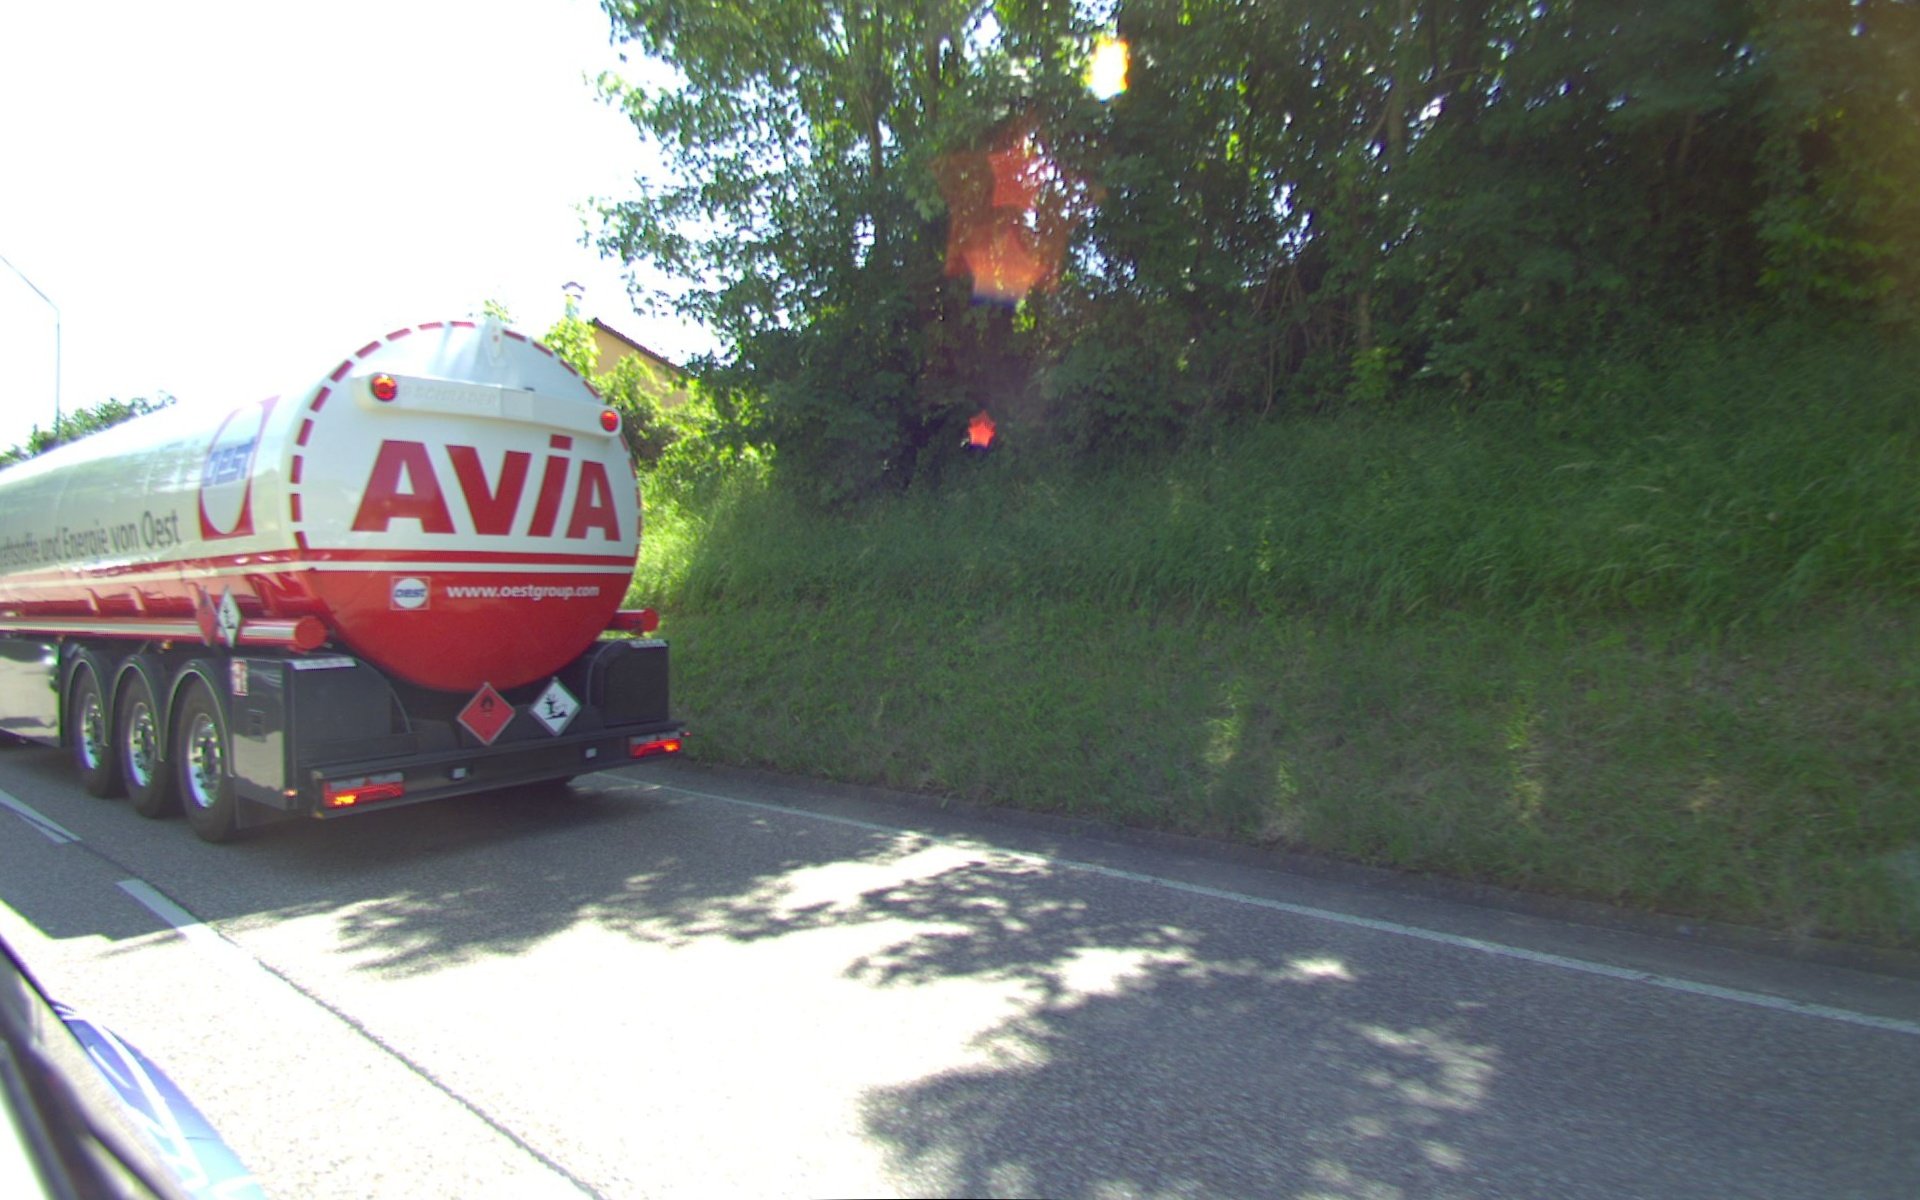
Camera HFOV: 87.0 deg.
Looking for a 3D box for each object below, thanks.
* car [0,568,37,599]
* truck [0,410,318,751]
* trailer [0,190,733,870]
[{"bbox_3d":[-52.088,-0.917,55.465,1.968,1.518,4.008,-1,4,-39],"label":"car"},{"bbox_3d":[-10.952,-0.161,12.643,7.054,3.194,2.602,-1,0,36],"label":"truck"},{"bbox_3d":[-6.815,-0.315,9.467,11.123,3.398,2.609,-1,0,37],"label":"trailer"}]
